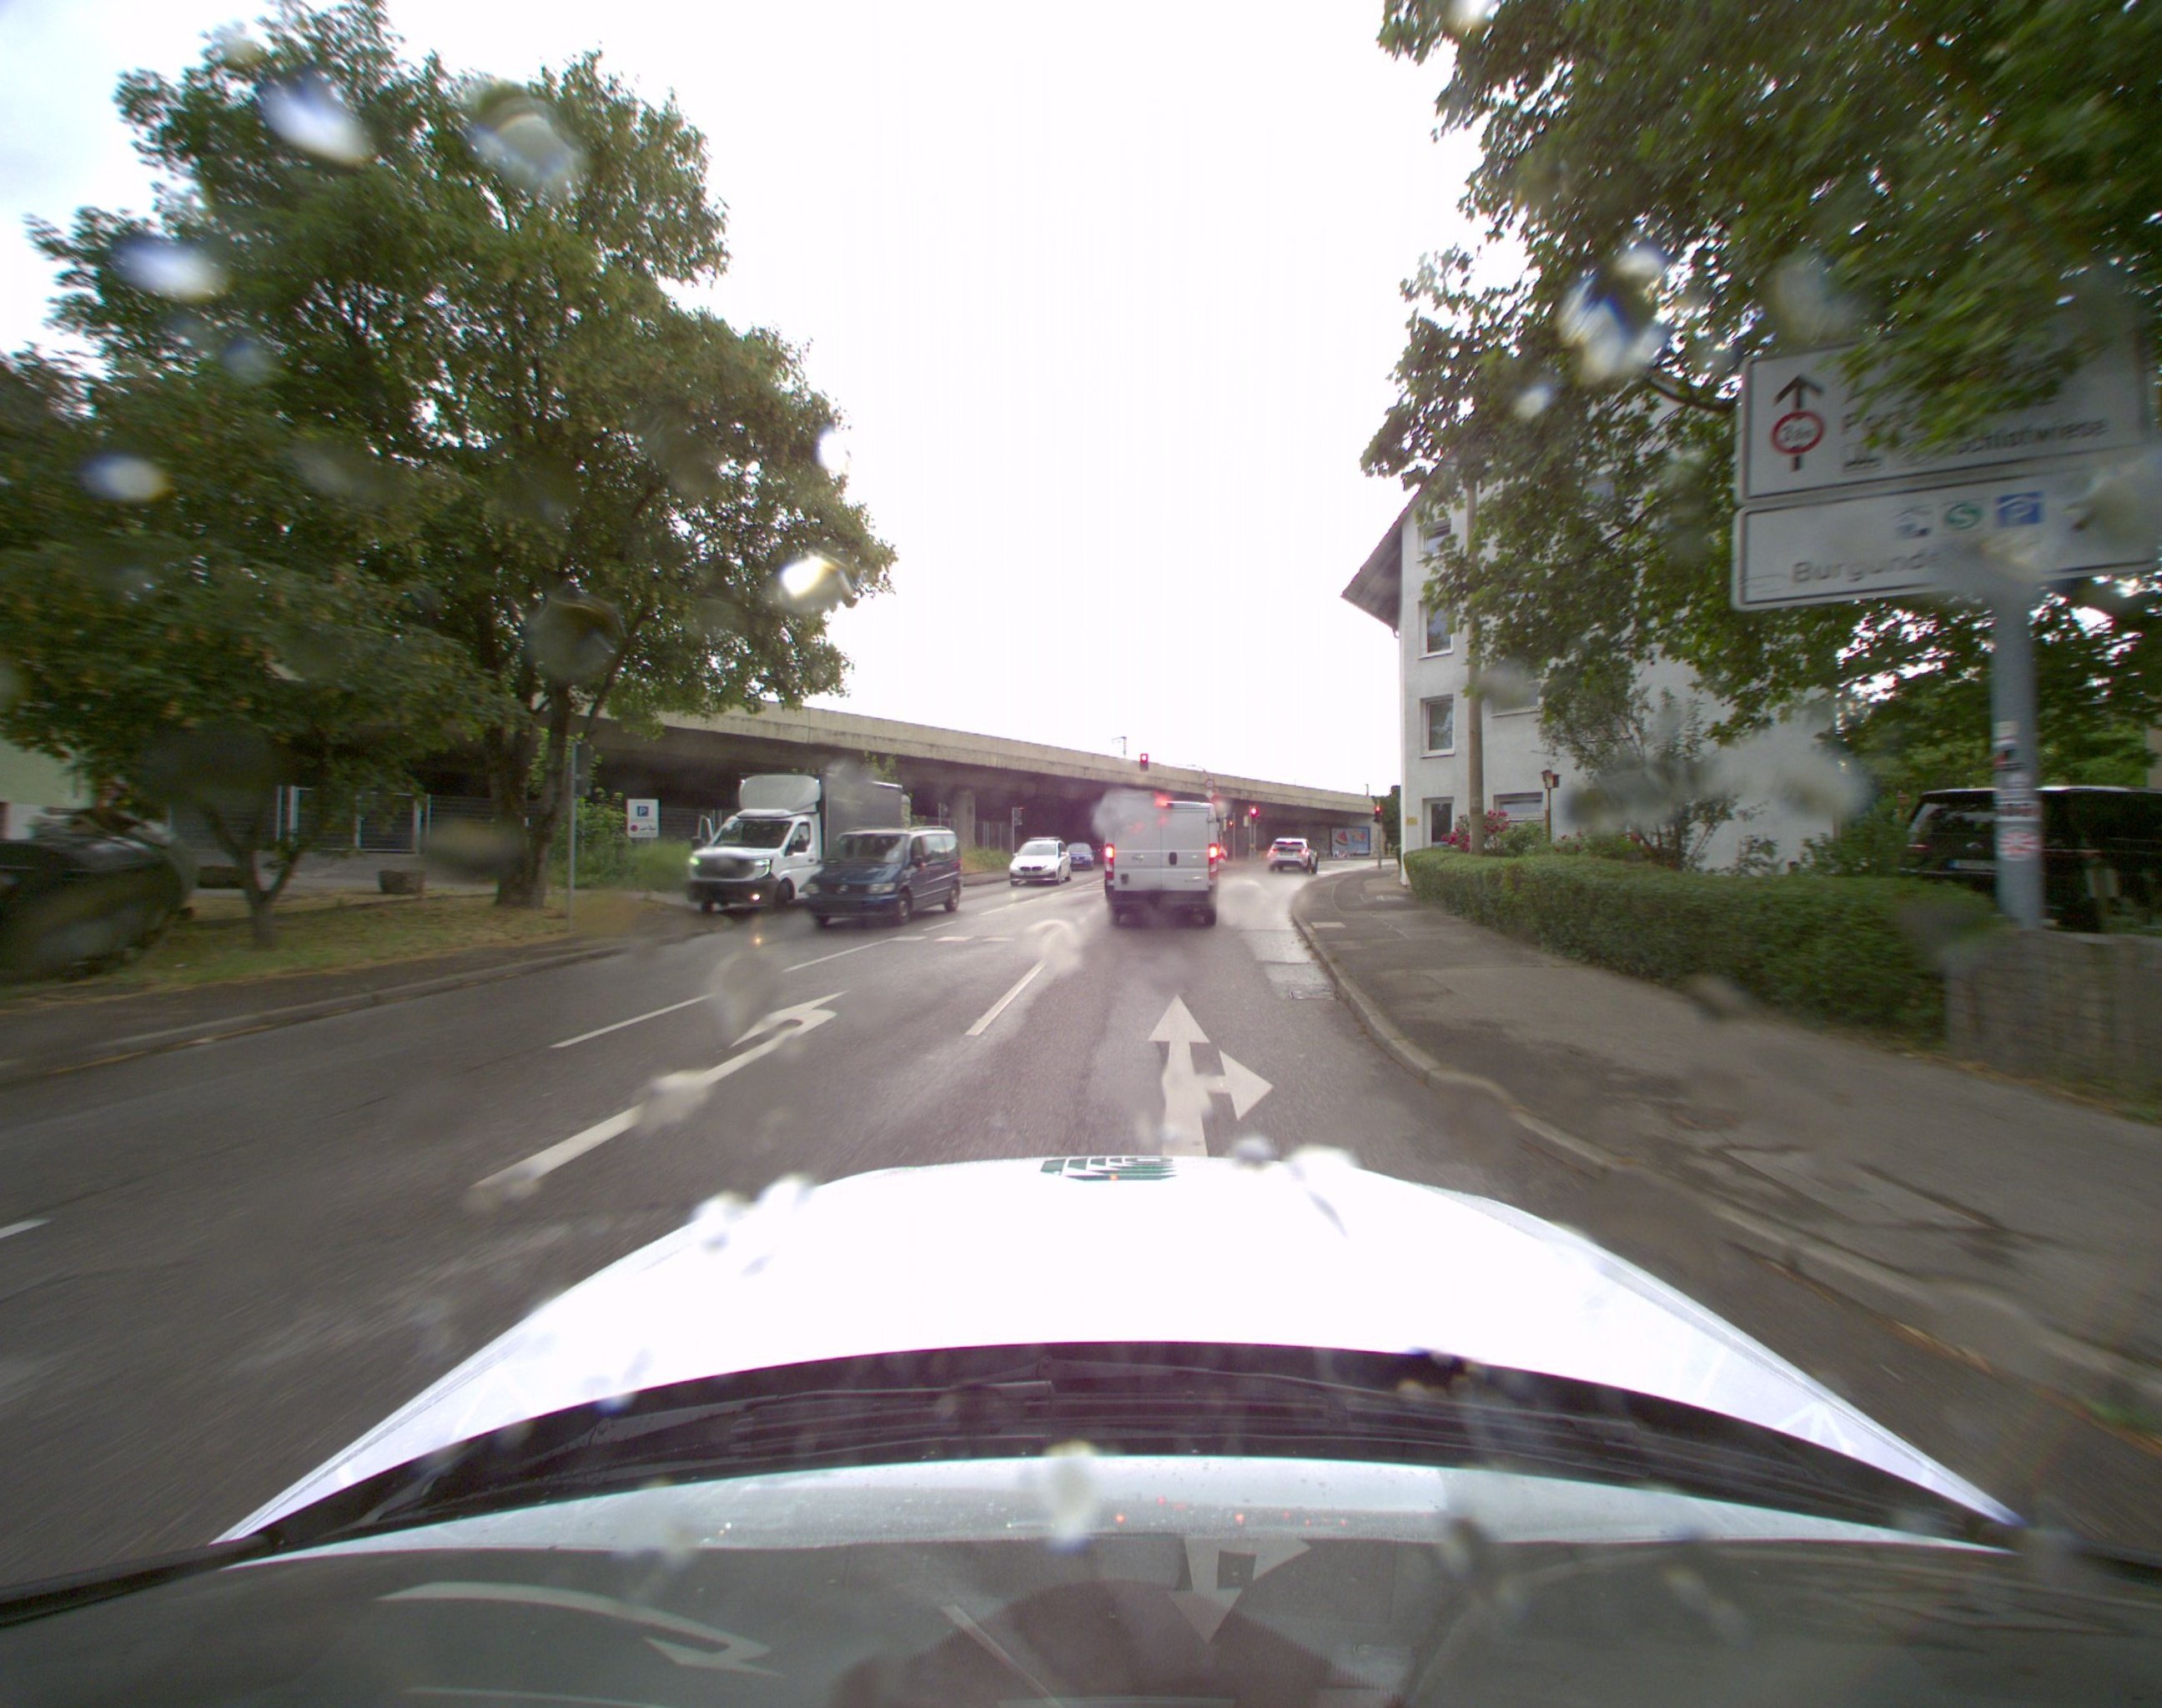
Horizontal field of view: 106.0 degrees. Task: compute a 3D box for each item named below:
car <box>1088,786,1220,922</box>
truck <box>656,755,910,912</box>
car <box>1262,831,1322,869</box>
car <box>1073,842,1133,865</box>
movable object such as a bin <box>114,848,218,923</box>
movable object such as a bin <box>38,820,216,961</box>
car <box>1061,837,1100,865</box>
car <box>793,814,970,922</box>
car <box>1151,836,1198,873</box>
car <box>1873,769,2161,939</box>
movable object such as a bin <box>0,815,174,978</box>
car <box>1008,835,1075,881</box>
[{"bbox_3d":[1.661,-0.056,16.737,2.291,2.343,5.296,0,1,9],"label":"car"},{"bbox_3d":[-7.074,-0.459,20.891,2.595,3.236,7.796,0,0,9],"label":"truck"},{"bbox_3d":[9.215,-0.164,35.398,1.976,1.549,4.022,0,0,23],"label":"car"},{"bbox_3d":[1.501,-0.014,56.857,2.011,1.554,3.951,0,0,-44],"label":"car"},{"bbox_3d":[-12.237,0.407,10.912,0.553,0.957,0.725,0,0,7],"label":"movable object such as a bin"},{"bbox_3d":[-11.300,0.398,9.725,1.106,1.437,1.446,3,3,-40],"label":"movable object such as a bin"},{"bbox_3d":[0.020,-0.183,43.579,1.589,1.425,3.705,0,1,7],"label":"car"},{"bbox_3d":[-3.933,0.237,17.000,1.946,1.931,4.694,0,0,8],"label":"car"},{"bbox_3d":[4.596,0.022,39.574,1.981,1.729,4.011,0,0,10],"label":"car"},{"bbox_3d":[13.260,-0.028,10.765,4.406,1.932,1.991,-1,0,-14],"label":"car"},{"bbox_3d":[-10.575,0.403,8.452,1.301,1.437,1.446,3,3,-40],"label":"movable object such as a bin"},{"bbox_3d":[-1.414,0.090,30.795,1.821,1.578,4.343,1,2,7],"label":"car"}]
